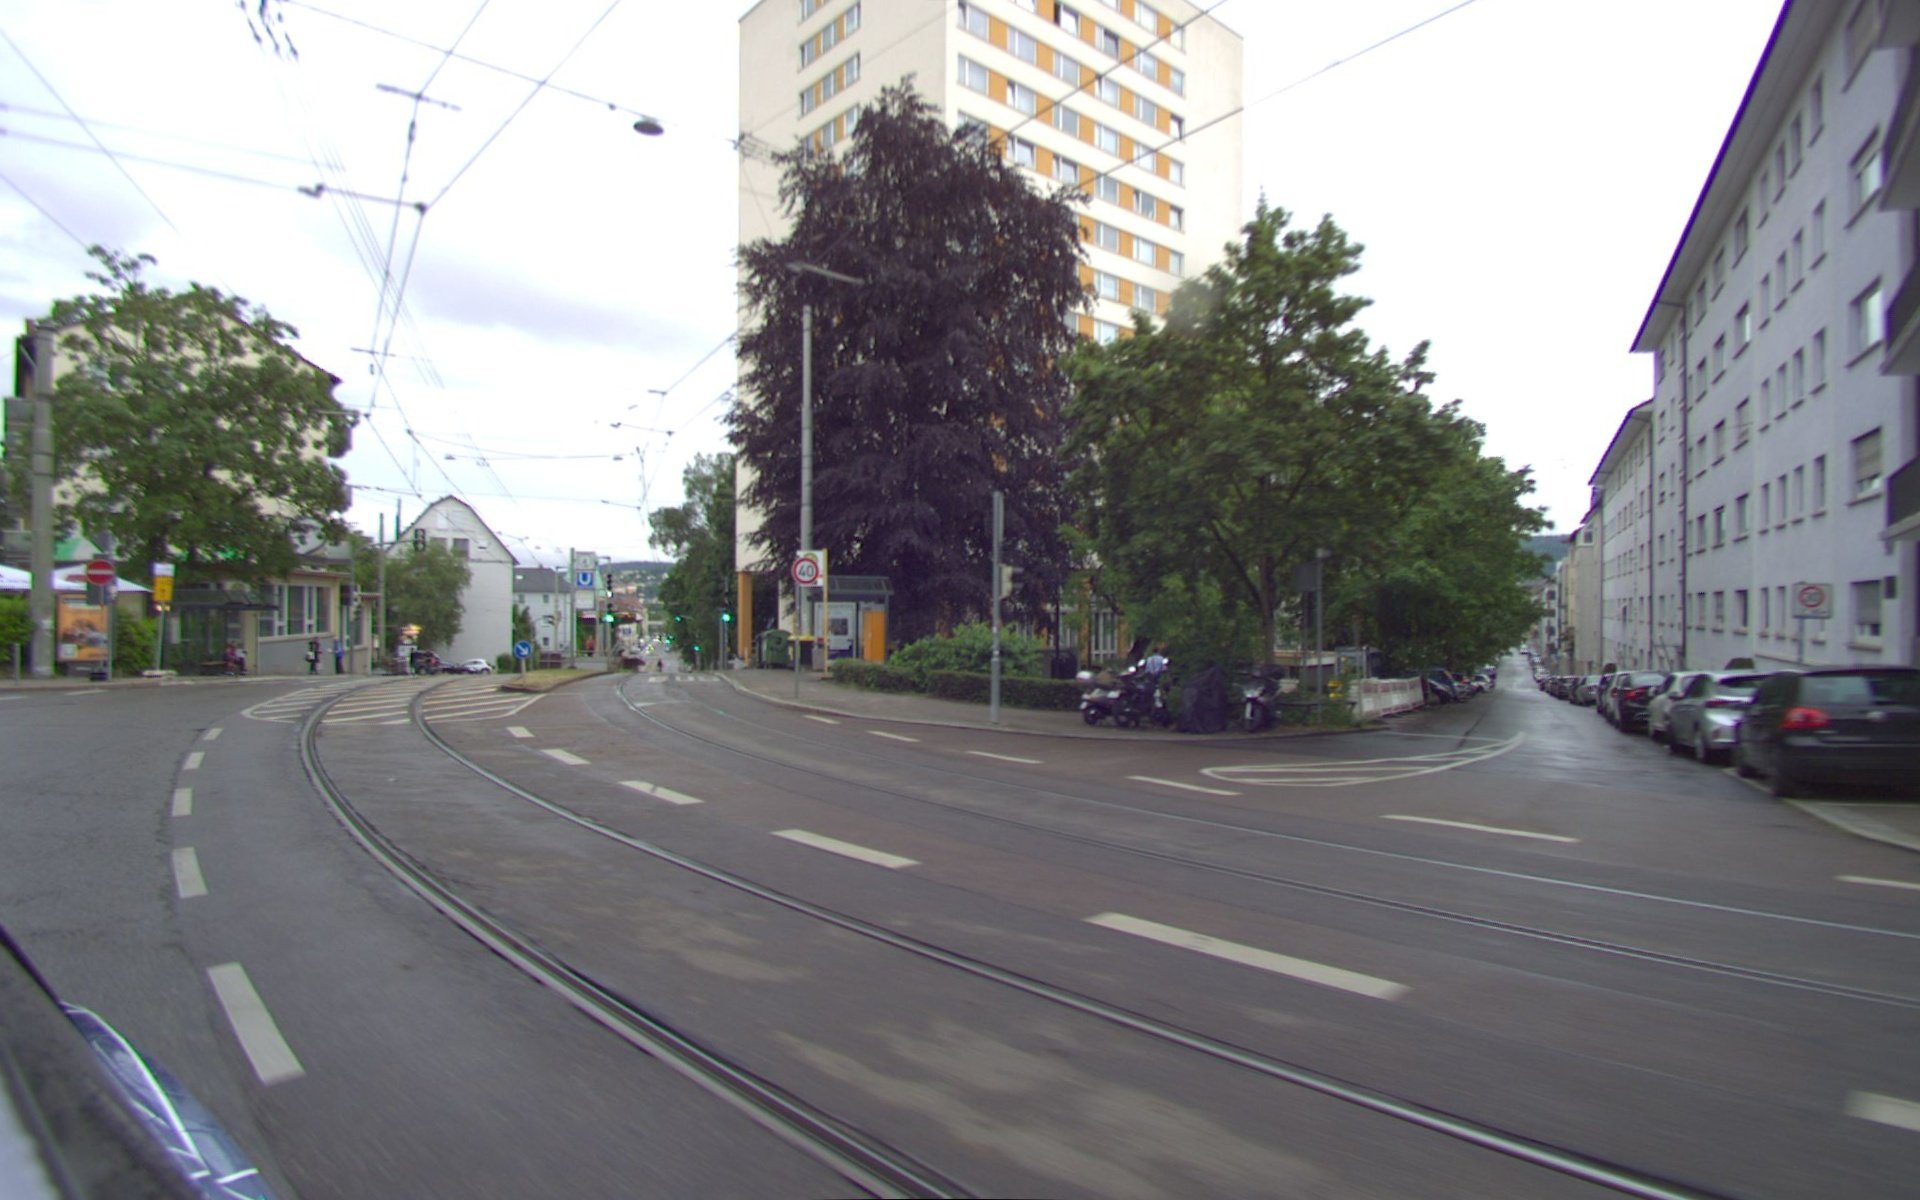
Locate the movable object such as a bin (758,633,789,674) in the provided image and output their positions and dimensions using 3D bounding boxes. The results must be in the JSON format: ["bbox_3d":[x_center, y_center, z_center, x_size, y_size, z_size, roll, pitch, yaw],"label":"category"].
[{"bbox_3d":[-7.021,2.023,38.005,1.007,1.445,1.448,-2,-4,-15],"label":"movable object such as a bin"}]

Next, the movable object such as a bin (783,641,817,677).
[{"bbox_3d":[-5.495,2.029,34.708,1.007,1.147,1.346,-2,-4,-15],"label":"movable object such as a bin"}]

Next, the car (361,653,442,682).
[{"bbox_3d":[-36.710,4.480,66.673,4.270,1.687,1.785,3,-6,-14],"label":"car"}]

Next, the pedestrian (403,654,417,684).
[{"bbox_3d":[-31.871,4.006,58.639,0.571,1.727,0.616,-1,-4,-20],"label":"pedestrian"}]

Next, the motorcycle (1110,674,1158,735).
[{"bbox_3d":[3.461,2.035,19.978,0.482,1.057,2.108,-4,-4,21],"label":"motorcycle"}]

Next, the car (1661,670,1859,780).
[{"bbox_3d":[12.747,1.937,16.392,1.646,1.466,3.856,-4,-4,26],"label":"car"}]

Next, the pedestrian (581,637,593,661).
[{"bbox_3d":[-24.995,3.288,67.840,0.661,1.560,0.773,1,-5,-17],"label":"pedestrian"}]

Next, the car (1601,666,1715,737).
[{"bbox_3d":[16.837,2.393,24.573,1.695,1.452,3.716,-1,-2,26],"label":"car"}]

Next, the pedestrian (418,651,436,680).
[{"bbox_3d":[-32.379,3.988,61.454,0.710,1.727,0.609,1,-5,-7],"label":"pedestrian"}]

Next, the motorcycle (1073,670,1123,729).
[{"bbox_3d":[2.794,1.968,20.334,0.482,1.057,2.108,-2,-3,21],"label":"motorcycle"}]

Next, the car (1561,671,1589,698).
[{"bbox_3d":[38.022,5.203,62.580,1.390,1.452,3.030,-1,-2,30],"label":"car"}]

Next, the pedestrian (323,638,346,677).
[{"bbox_3d":[-25.620,2.377,41.476,0.580,1.566,0.651,2,-5,-17],"label":"pedestrian"}]

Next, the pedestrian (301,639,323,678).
[{"bbox_3d":[-26.402,2.399,41.221,0.538,1.566,0.560,2,-5,-18],"label":"pedestrian"}]

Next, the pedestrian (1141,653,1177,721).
[{"bbox_3d":[5.077,2.214,25.831,0.560,1.697,0.778,2,-3,-24],"label":"pedestrian"}]

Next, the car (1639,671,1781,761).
[{"bbox_3d":[14.920,2.239,20.329,1.611,1.452,3.716,-1,-2,26],"label":"car"}]

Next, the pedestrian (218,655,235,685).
[{"bbox_3d":[-24.790,2.357,34.201,0.320,1.003,0.318,3,-5,-20],"label":"pedestrian"}]

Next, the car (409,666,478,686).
[{"bbox_3d":[-43.237,6.350,84.847,4.864,1.448,1.980,-2,-2,-15],"label":"car"}]

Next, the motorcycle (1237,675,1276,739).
[{"bbox_3d":[5.620,1.991,19.120,0.482,1.057,2.108,-4,-4,21],"label":"motorcycle"}]

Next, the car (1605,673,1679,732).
[{"bbox_3d":[19.465,2.888,28.982,1.521,1.452,3.290,-1,-2,30],"label":"car"}]

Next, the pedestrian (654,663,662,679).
[{"bbox_3d":[-30.893,7.223,103.397,0.743,1.606,0.619,-2,-4,-14],"label":"pedestrian"}]

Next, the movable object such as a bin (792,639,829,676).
[{"bbox_3d":[-4.864,1.872,32.869,1.007,1.147,1.346,-2,-4,-15],"label":"movable object such as a bin"}]

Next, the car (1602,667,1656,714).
[{"bbox_3d":[23.441,3.145,35.508,1.390,1.452,3.030,-1,-2,30],"label":"car"}]

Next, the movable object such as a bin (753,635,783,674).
[{"bbox_3d":[-7.516,2.150,39.559,1.007,1.445,1.359,-2,-4,-15],"label":"movable object such as a bin"}]

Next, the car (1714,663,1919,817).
[{"bbox_3d":[10.581,1.546,12.097,1.848,1.466,4.210,-4,-4,29],"label":"car"}]

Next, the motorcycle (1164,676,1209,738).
[{"bbox_3d":[4.403,2.045,19.580,0.482,1.057,2.108,-4,-4,21],"label":"motorcycle"}]

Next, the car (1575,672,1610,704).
[{"bbox_3d":[32.156,4.451,51.503,1.390,1.452,3.030,-1,-2,30],"label":"car"}]

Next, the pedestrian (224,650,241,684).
[{"bbox_3d":[-24.863,2.286,34.604,0.320,1.159,0.318,3,-5,-20],"label":"pedestrian"}]

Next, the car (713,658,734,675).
[{"bbox_3d":[-23.654,6.660,101.072,1.722,1.730,4.454,1,-4,-17],"label":"car"}]

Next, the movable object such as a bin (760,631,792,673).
[{"bbox_3d":[-6.601,1.863,36.255,1.007,1.445,1.431,-2,-4,-15],"label":"movable object such as a bin"}]

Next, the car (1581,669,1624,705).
[{"bbox_3d":[30.219,4.068,47.643,1.456,1.477,3.381,-4,-4,30],"label":"car"}]

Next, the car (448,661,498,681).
[{"bbox_3d":[-43.684,6.357,90.898,3.931,1.477,1.823,1,2,-21],"label":"car"}]
